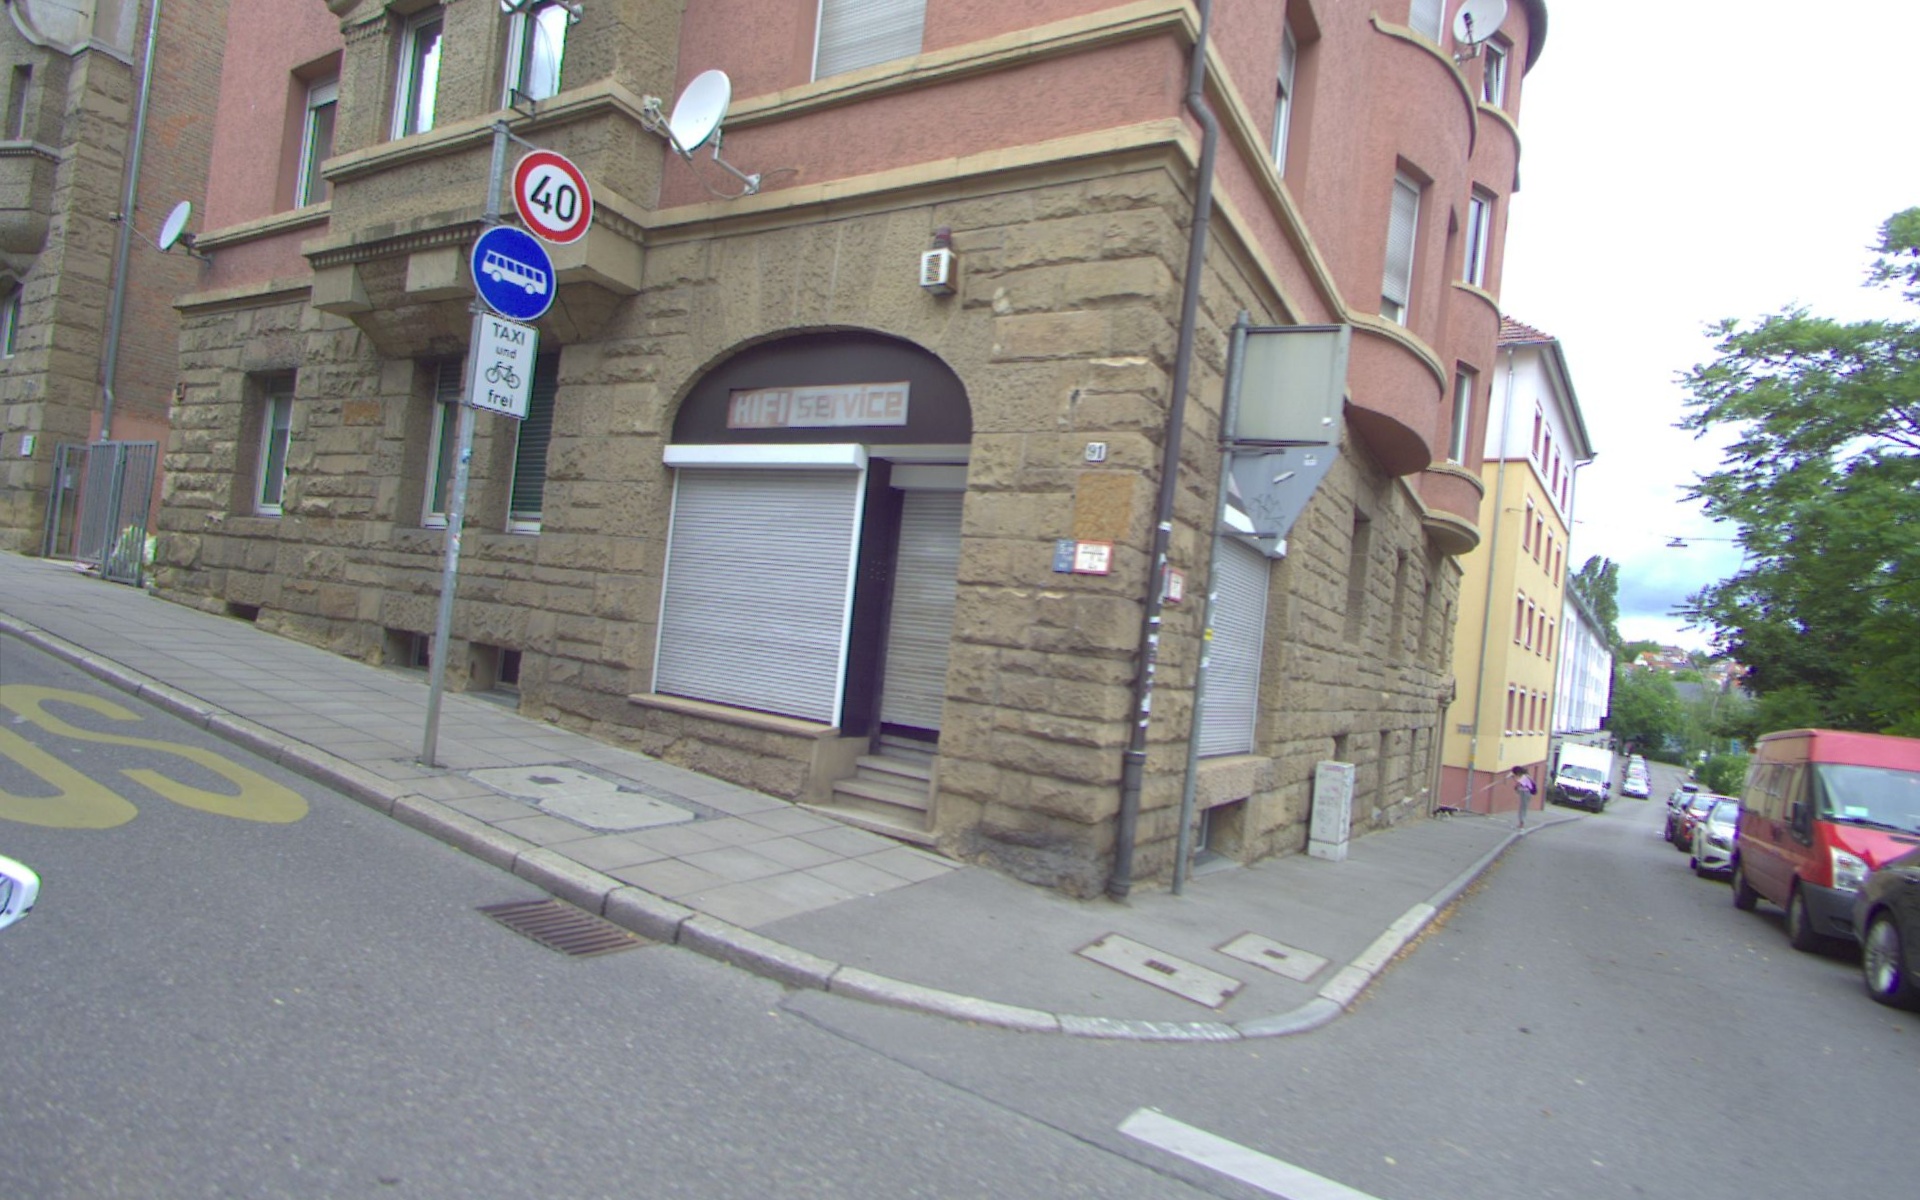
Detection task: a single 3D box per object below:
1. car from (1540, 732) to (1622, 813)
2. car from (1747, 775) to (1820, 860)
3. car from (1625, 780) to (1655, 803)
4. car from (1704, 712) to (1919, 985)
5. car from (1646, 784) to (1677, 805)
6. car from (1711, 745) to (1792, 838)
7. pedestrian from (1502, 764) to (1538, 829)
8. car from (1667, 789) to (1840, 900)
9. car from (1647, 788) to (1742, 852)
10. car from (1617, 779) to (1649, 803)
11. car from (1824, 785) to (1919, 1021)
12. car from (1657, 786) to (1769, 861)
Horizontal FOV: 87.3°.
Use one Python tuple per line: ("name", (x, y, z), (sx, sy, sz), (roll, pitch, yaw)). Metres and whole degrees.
("car", (32.264, 8.867, 52.441), (2.973, 3.312, 9.543), (8, -3, 31))
("car", (31.340, 8.212, 38.385), (1.742, 2.715, 4.292), (8, -3, 38))
("car", (58.473, 16.464, 86.565), (1.691, 1.504, 4.303), (6, -5, 30))
("car", (10.115, 2.666, 11.079), (2.200, 2.262, 5.606), (7, -5, 30))
("car", (62.538, 17.319, 89.762), (1.691, 1.504, 4.303), (6, -5, 30))
("car", (43.396, 10.506, 55.320), (2.901, 4.217, 9.983), (6, -5, 38))
("pedestrian", (14.574, 5.099, 26.177), (0.648, 1.561, 0.547), (7, -2, 31))
("car", (14.514, 4.402, 18.647), (1.739, 1.469, 4.306), (7, -6, 30))
("car", (22.741, 6.768, 31.294), (1.739, 1.503, 4.306), (7, -6, 30))
("car", (53.850, 15.299, 80.573), (1.691, 1.504, 4.303), (6, -5, 30))
("car", (7.315, 2.116, 5.723), (2.199, 1.565, 5.151), (8, -5, 26))
("car", (20.118, 5.936, 27.043), (1.739, 1.503, 4.306), (7, -6, 30))
